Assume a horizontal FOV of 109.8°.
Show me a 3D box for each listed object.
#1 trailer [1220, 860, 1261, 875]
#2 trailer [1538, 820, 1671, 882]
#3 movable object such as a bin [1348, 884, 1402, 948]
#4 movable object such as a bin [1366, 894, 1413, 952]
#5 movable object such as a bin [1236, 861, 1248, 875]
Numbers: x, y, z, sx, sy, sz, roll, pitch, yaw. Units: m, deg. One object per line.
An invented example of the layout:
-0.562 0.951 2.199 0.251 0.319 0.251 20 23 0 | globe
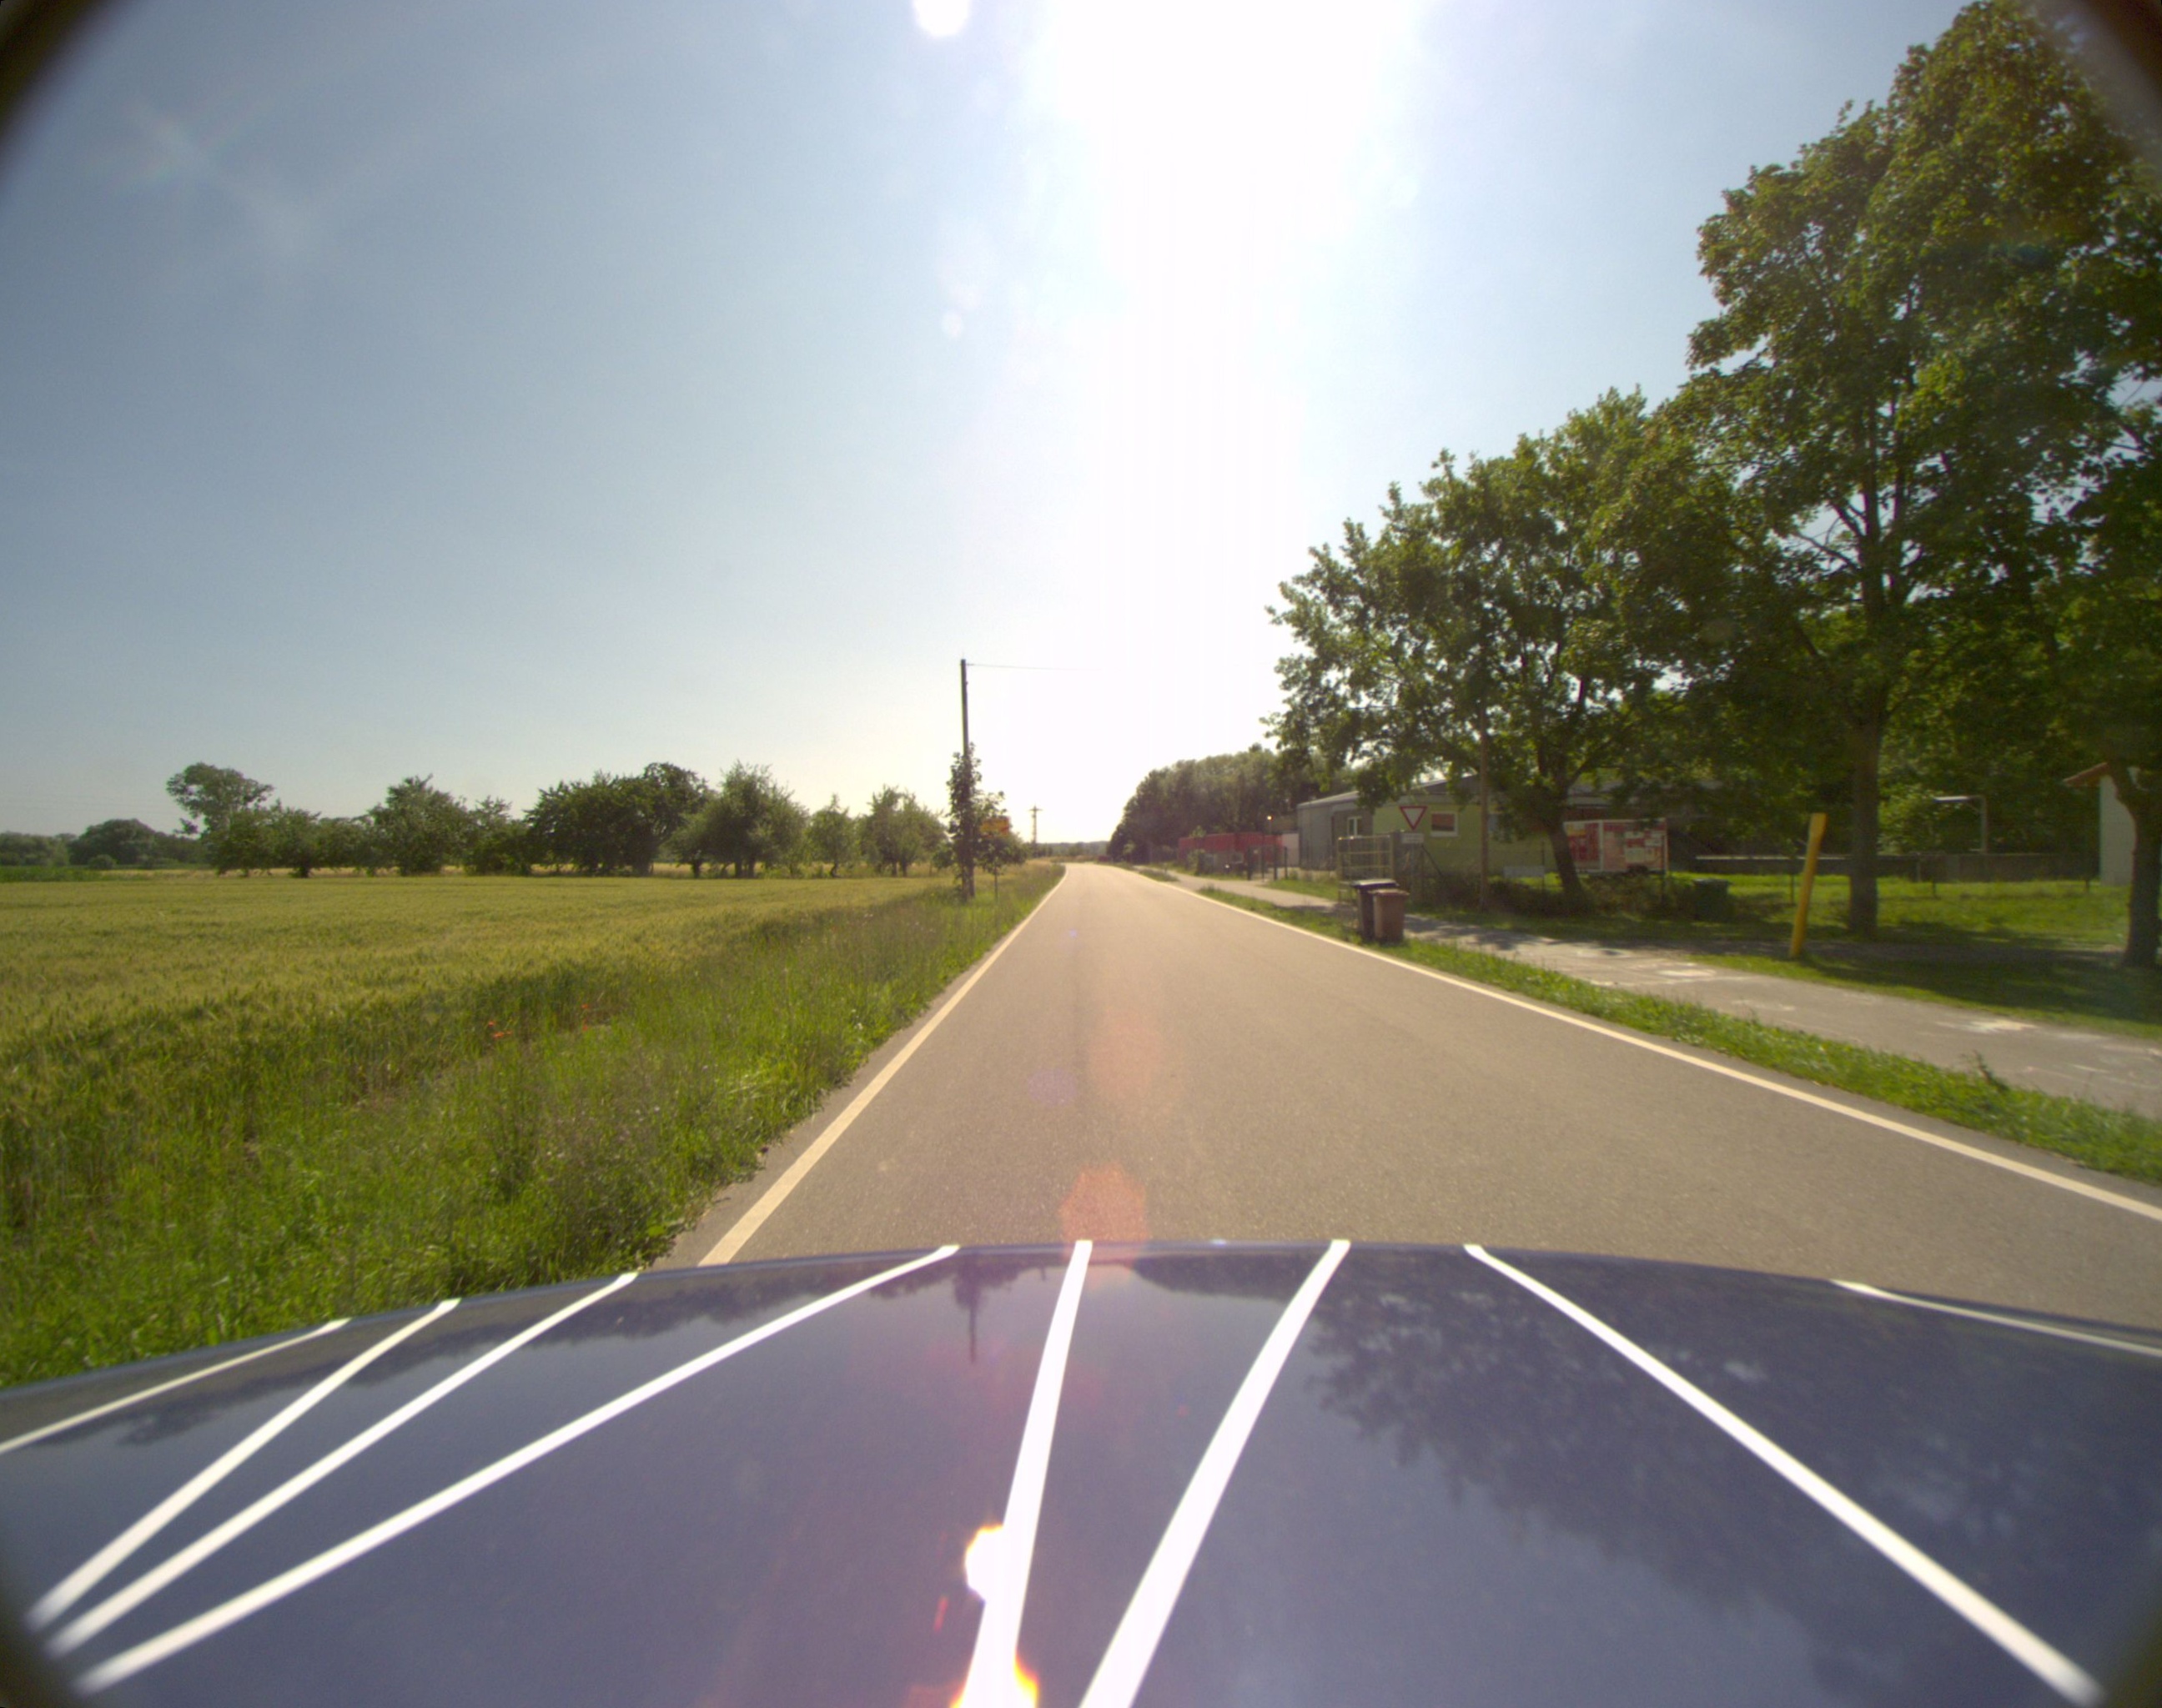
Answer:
10.207 0.842 48.735 1.636 0.861 3.356 0 0 -6 | trailer
19.808 -0.116 28.790 4.239 2.264 1.826 0 0 -14 | trailer
5.009 1.040 12.980 0.700 1.018 0.748 0 0 8 | movable object such as a bin
4.914 1.084 12.124 0.563 0.872 0.614 0 0 8 | movable object such as a bin
9.575 0.842 45.232 0.640 0.849 0.654 0 0 6 | movable object such as a bin
